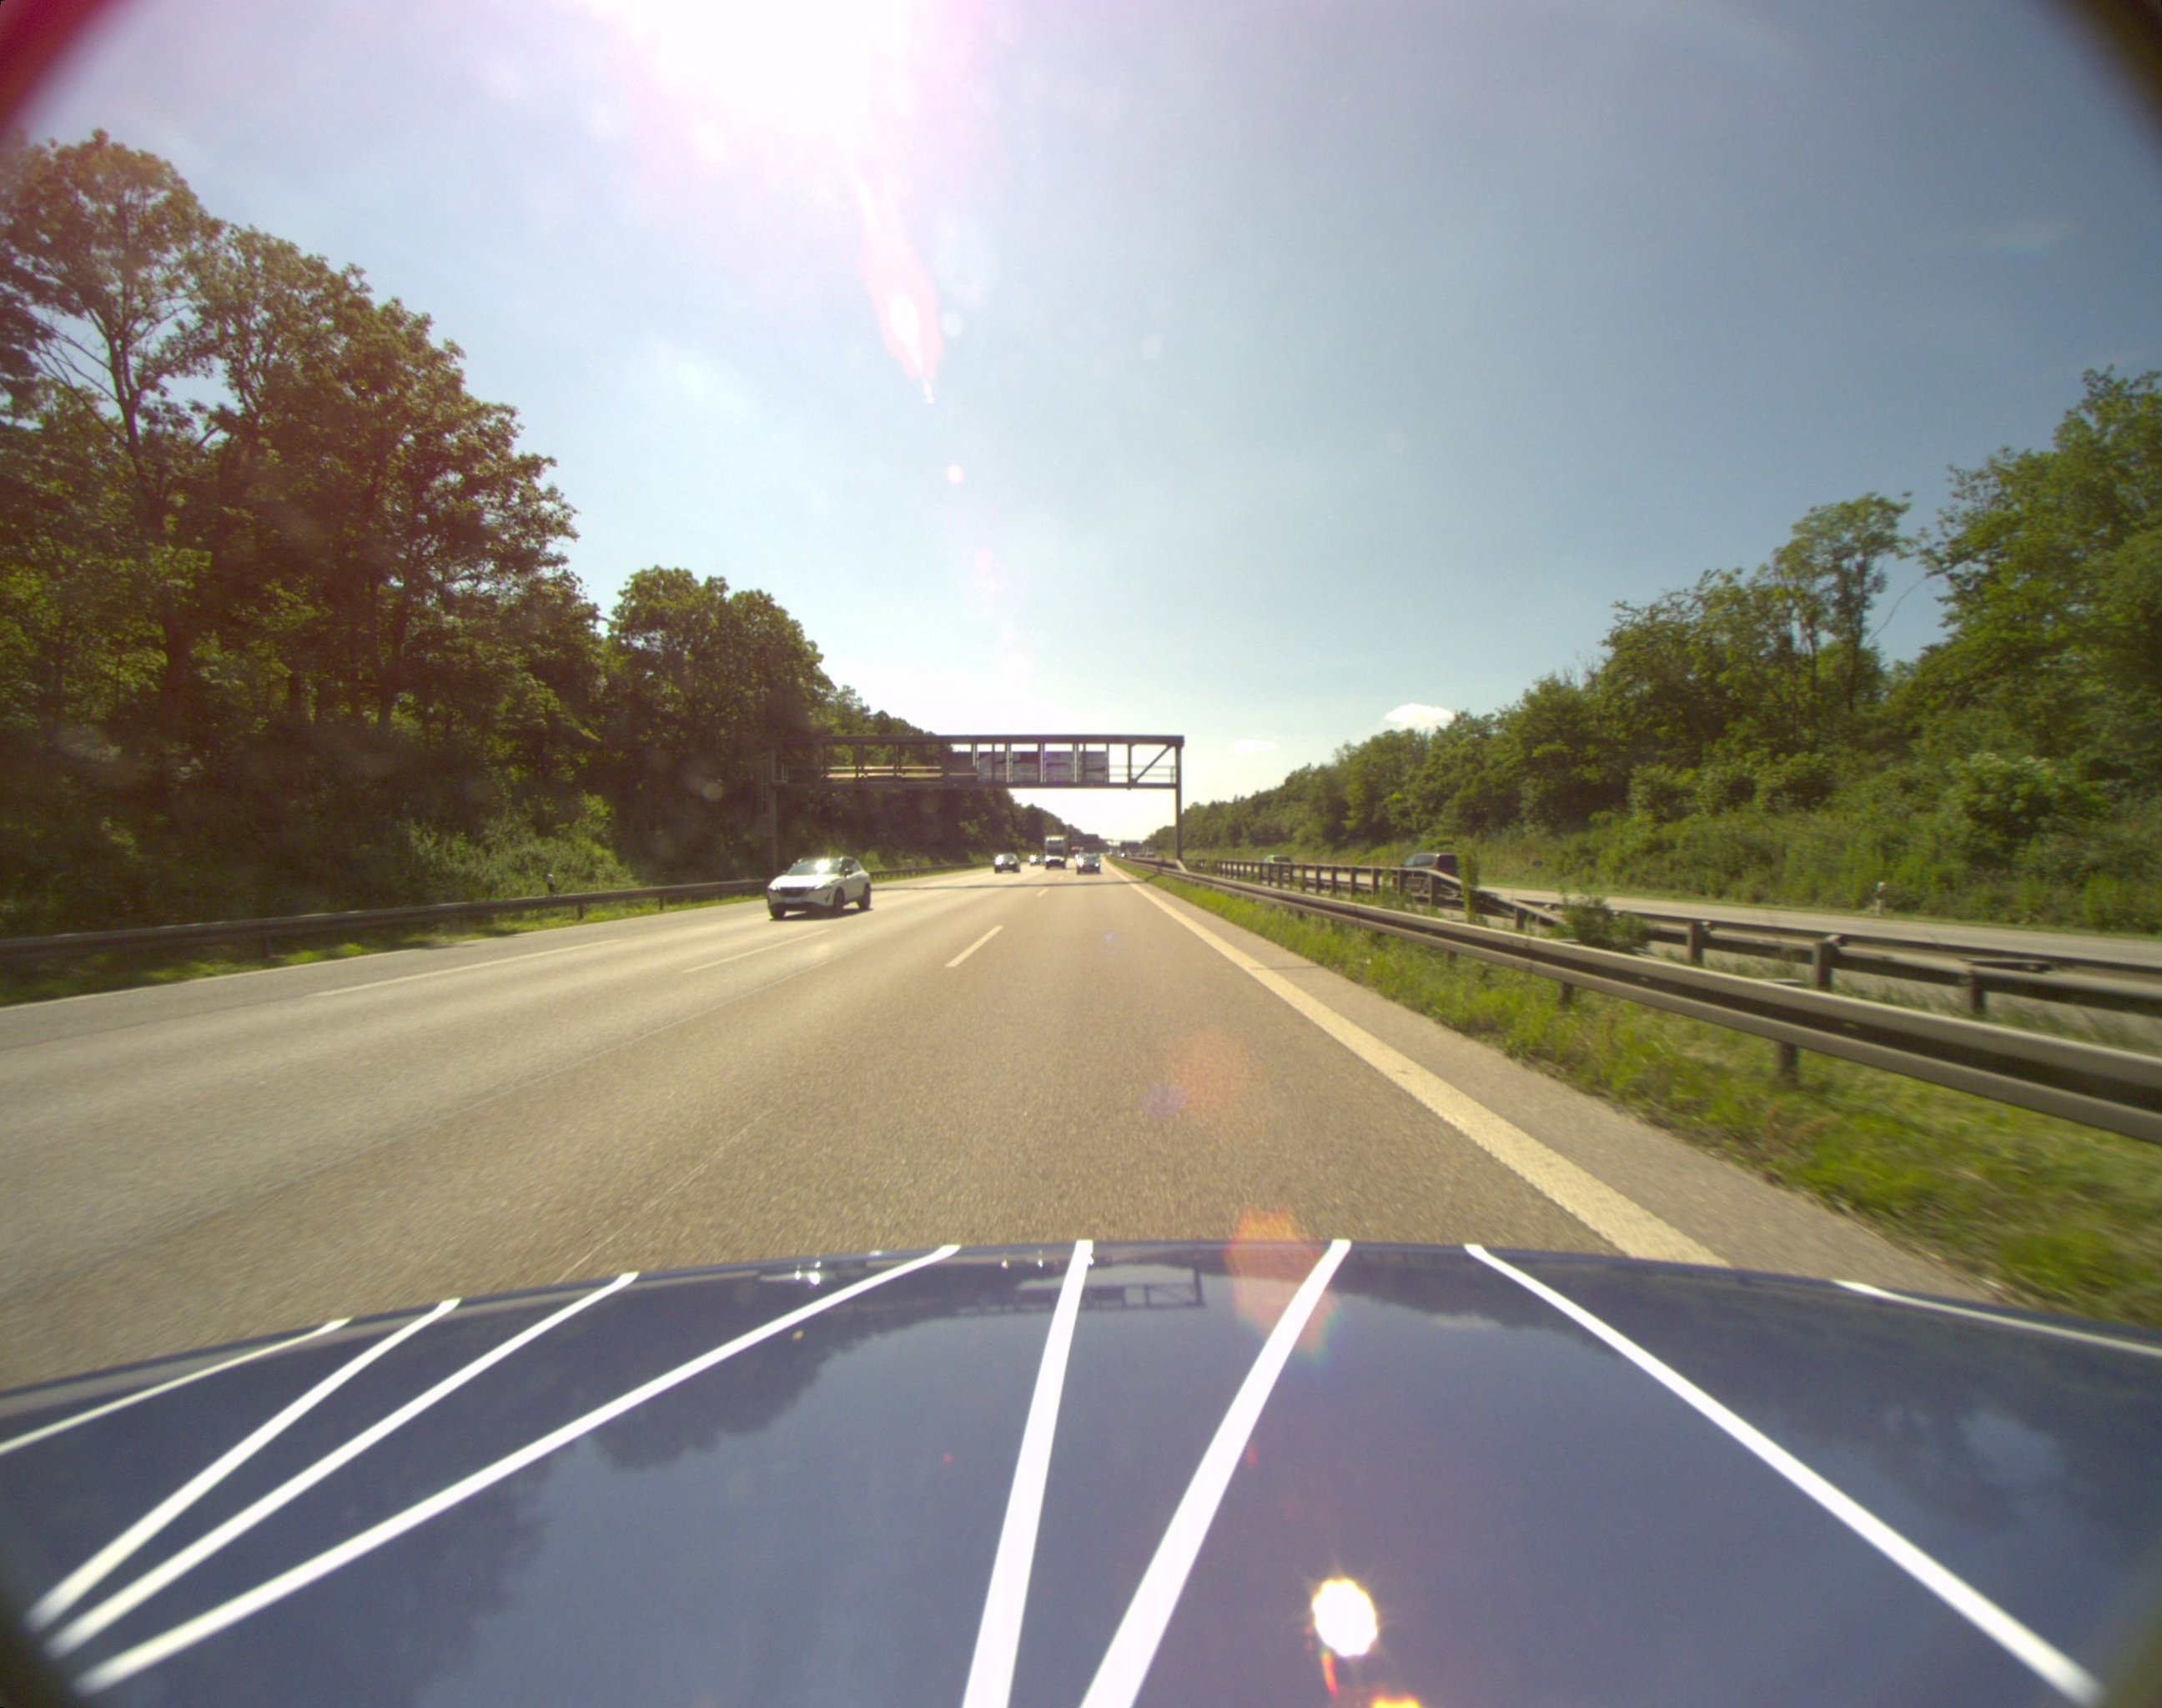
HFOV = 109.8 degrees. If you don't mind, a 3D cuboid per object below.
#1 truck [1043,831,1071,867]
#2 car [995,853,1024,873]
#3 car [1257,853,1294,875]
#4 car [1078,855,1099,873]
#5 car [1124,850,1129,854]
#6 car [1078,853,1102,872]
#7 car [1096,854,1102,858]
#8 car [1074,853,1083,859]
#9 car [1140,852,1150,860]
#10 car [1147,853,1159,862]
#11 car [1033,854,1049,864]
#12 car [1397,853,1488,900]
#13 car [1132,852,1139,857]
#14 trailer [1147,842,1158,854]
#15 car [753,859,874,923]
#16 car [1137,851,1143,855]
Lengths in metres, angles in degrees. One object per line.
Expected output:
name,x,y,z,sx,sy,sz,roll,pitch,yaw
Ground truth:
truck,-2.479,-0.524,80.452,2.676,3.661,6.484,0,0,1
car,-6.440,0.803,68.591,1.924,1.659,4.687,-2,0,3
car,14.304,0.708,56.003,1.661,1.469,4.320,2,0,1
car,0.569,0.743,57.421,1.537,1.265,2.770,0,0,1
car,15.484,-0.721,258.778,1.437,1.519,3.457,0,0,1
car,0.730,0.644,60.899,1.814,1.483,3.729,0,0,1
car,4.756,0.536,202.289,1.591,1.291,3.382,0,0,1
car,-0.548,0.536,169.945,1.831,1.346,3.679,0,0,1
car,13.711,0.511,163.150,1.811,1.632,4.800,2,0,0
car,12.622,0.645,132.652,1.766,1.608,4.231,0,0,1
car,-5.576,0.720,106.713,1.916,1.390,4.138,0,0,1
car,13.688,0.812,29.016,1.661,1.607,3.914,2,0,1
car,15.061,0.154,211.108,1.718,1.390,4.149,0,0,1
trailer,23.465,-2.084,249.677,2.719,3.787,7.692,2,0,1
car,-7.371,0.956,21.386,1.848,1.559,4.035,-2,0,1
car,19.416,-0.298,249.337,1.679,1.487,3.544,0,0,1
